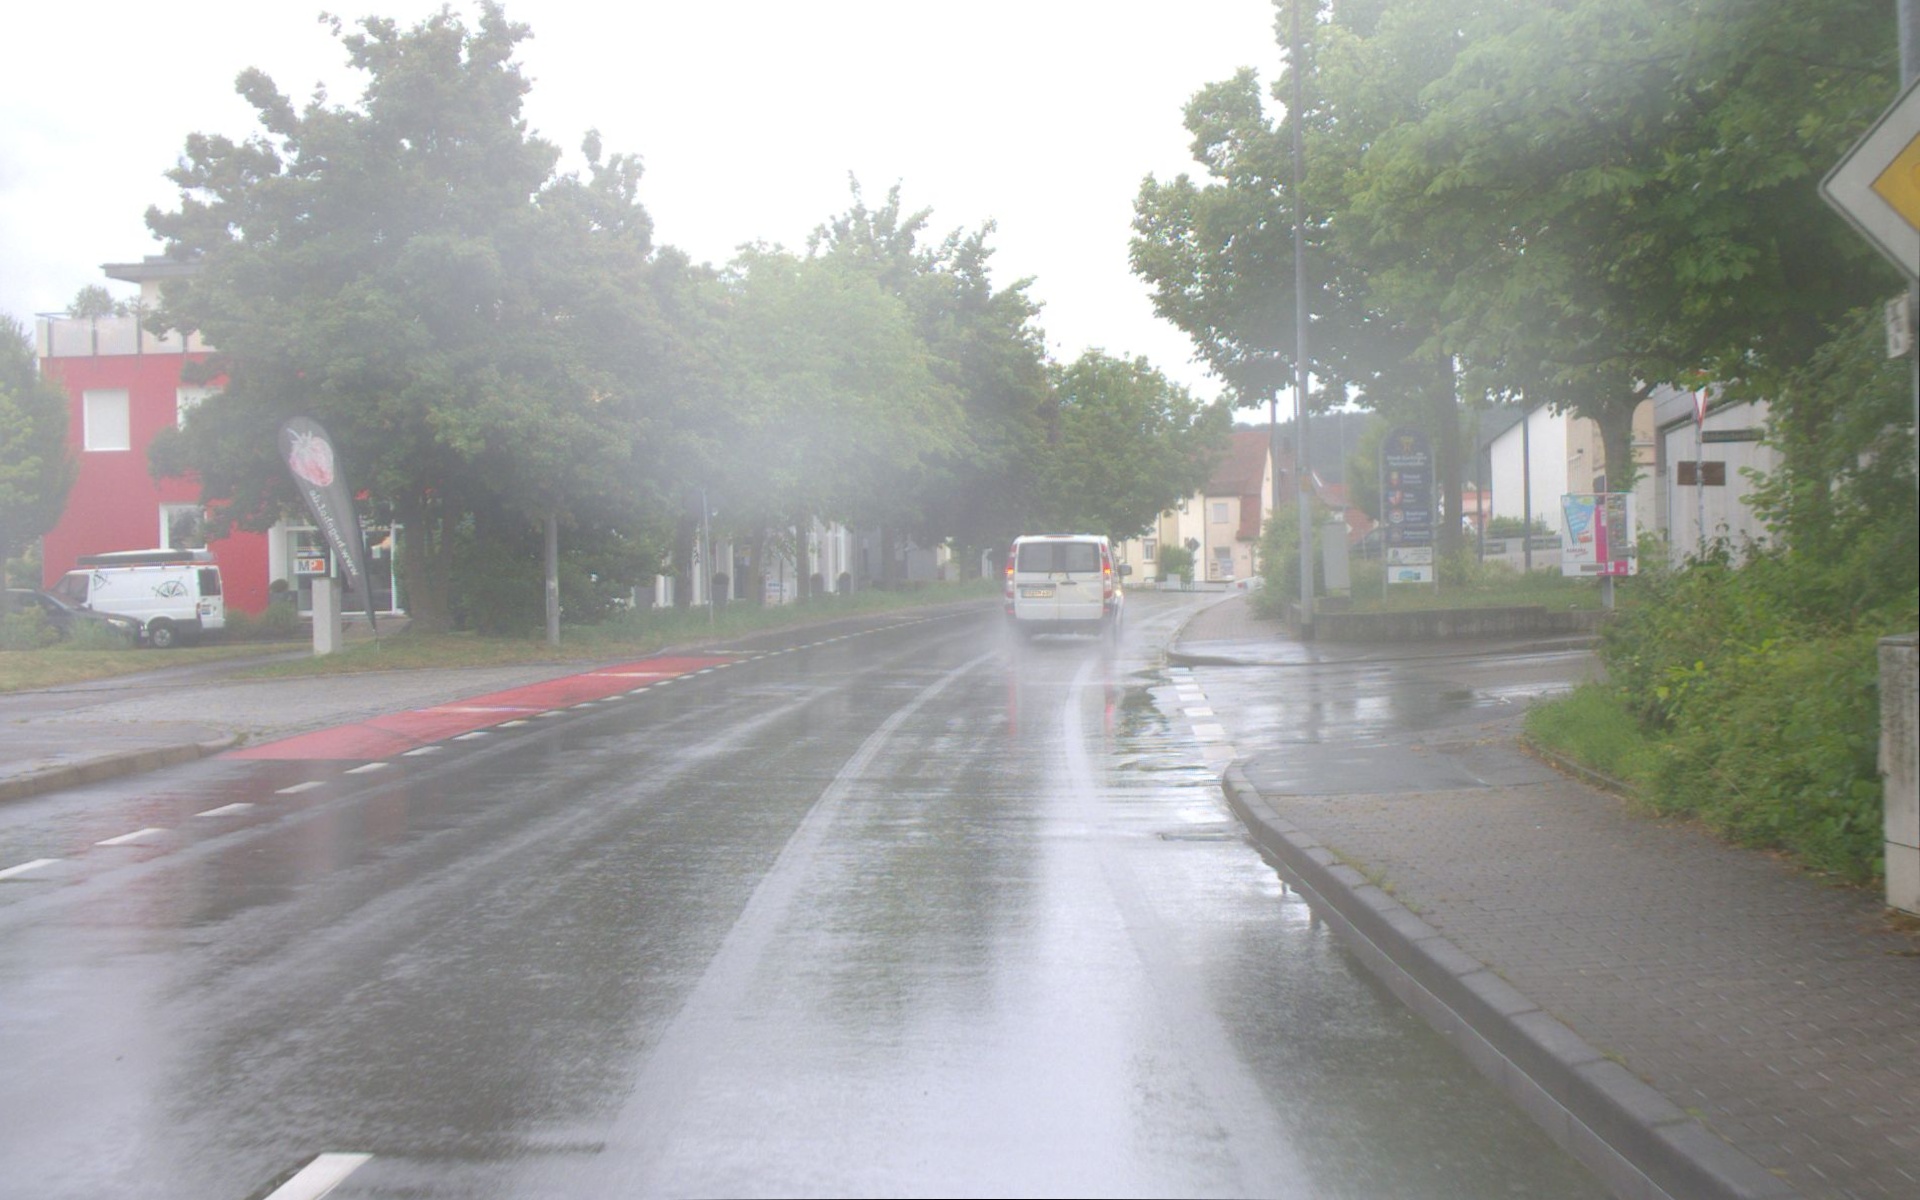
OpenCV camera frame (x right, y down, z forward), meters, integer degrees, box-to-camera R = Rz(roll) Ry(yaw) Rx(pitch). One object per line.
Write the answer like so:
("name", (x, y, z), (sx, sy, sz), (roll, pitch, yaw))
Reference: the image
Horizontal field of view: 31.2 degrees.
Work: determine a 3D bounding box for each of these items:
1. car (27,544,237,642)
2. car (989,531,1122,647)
("car", (-20.134, -0.190, 83.670), (4.478, 2.302, 2.184), (0, 1, 8))
("car", (1.590, -0.224, 58.766), (2.117, 1.881, 4.502), (0, 1, 0))
